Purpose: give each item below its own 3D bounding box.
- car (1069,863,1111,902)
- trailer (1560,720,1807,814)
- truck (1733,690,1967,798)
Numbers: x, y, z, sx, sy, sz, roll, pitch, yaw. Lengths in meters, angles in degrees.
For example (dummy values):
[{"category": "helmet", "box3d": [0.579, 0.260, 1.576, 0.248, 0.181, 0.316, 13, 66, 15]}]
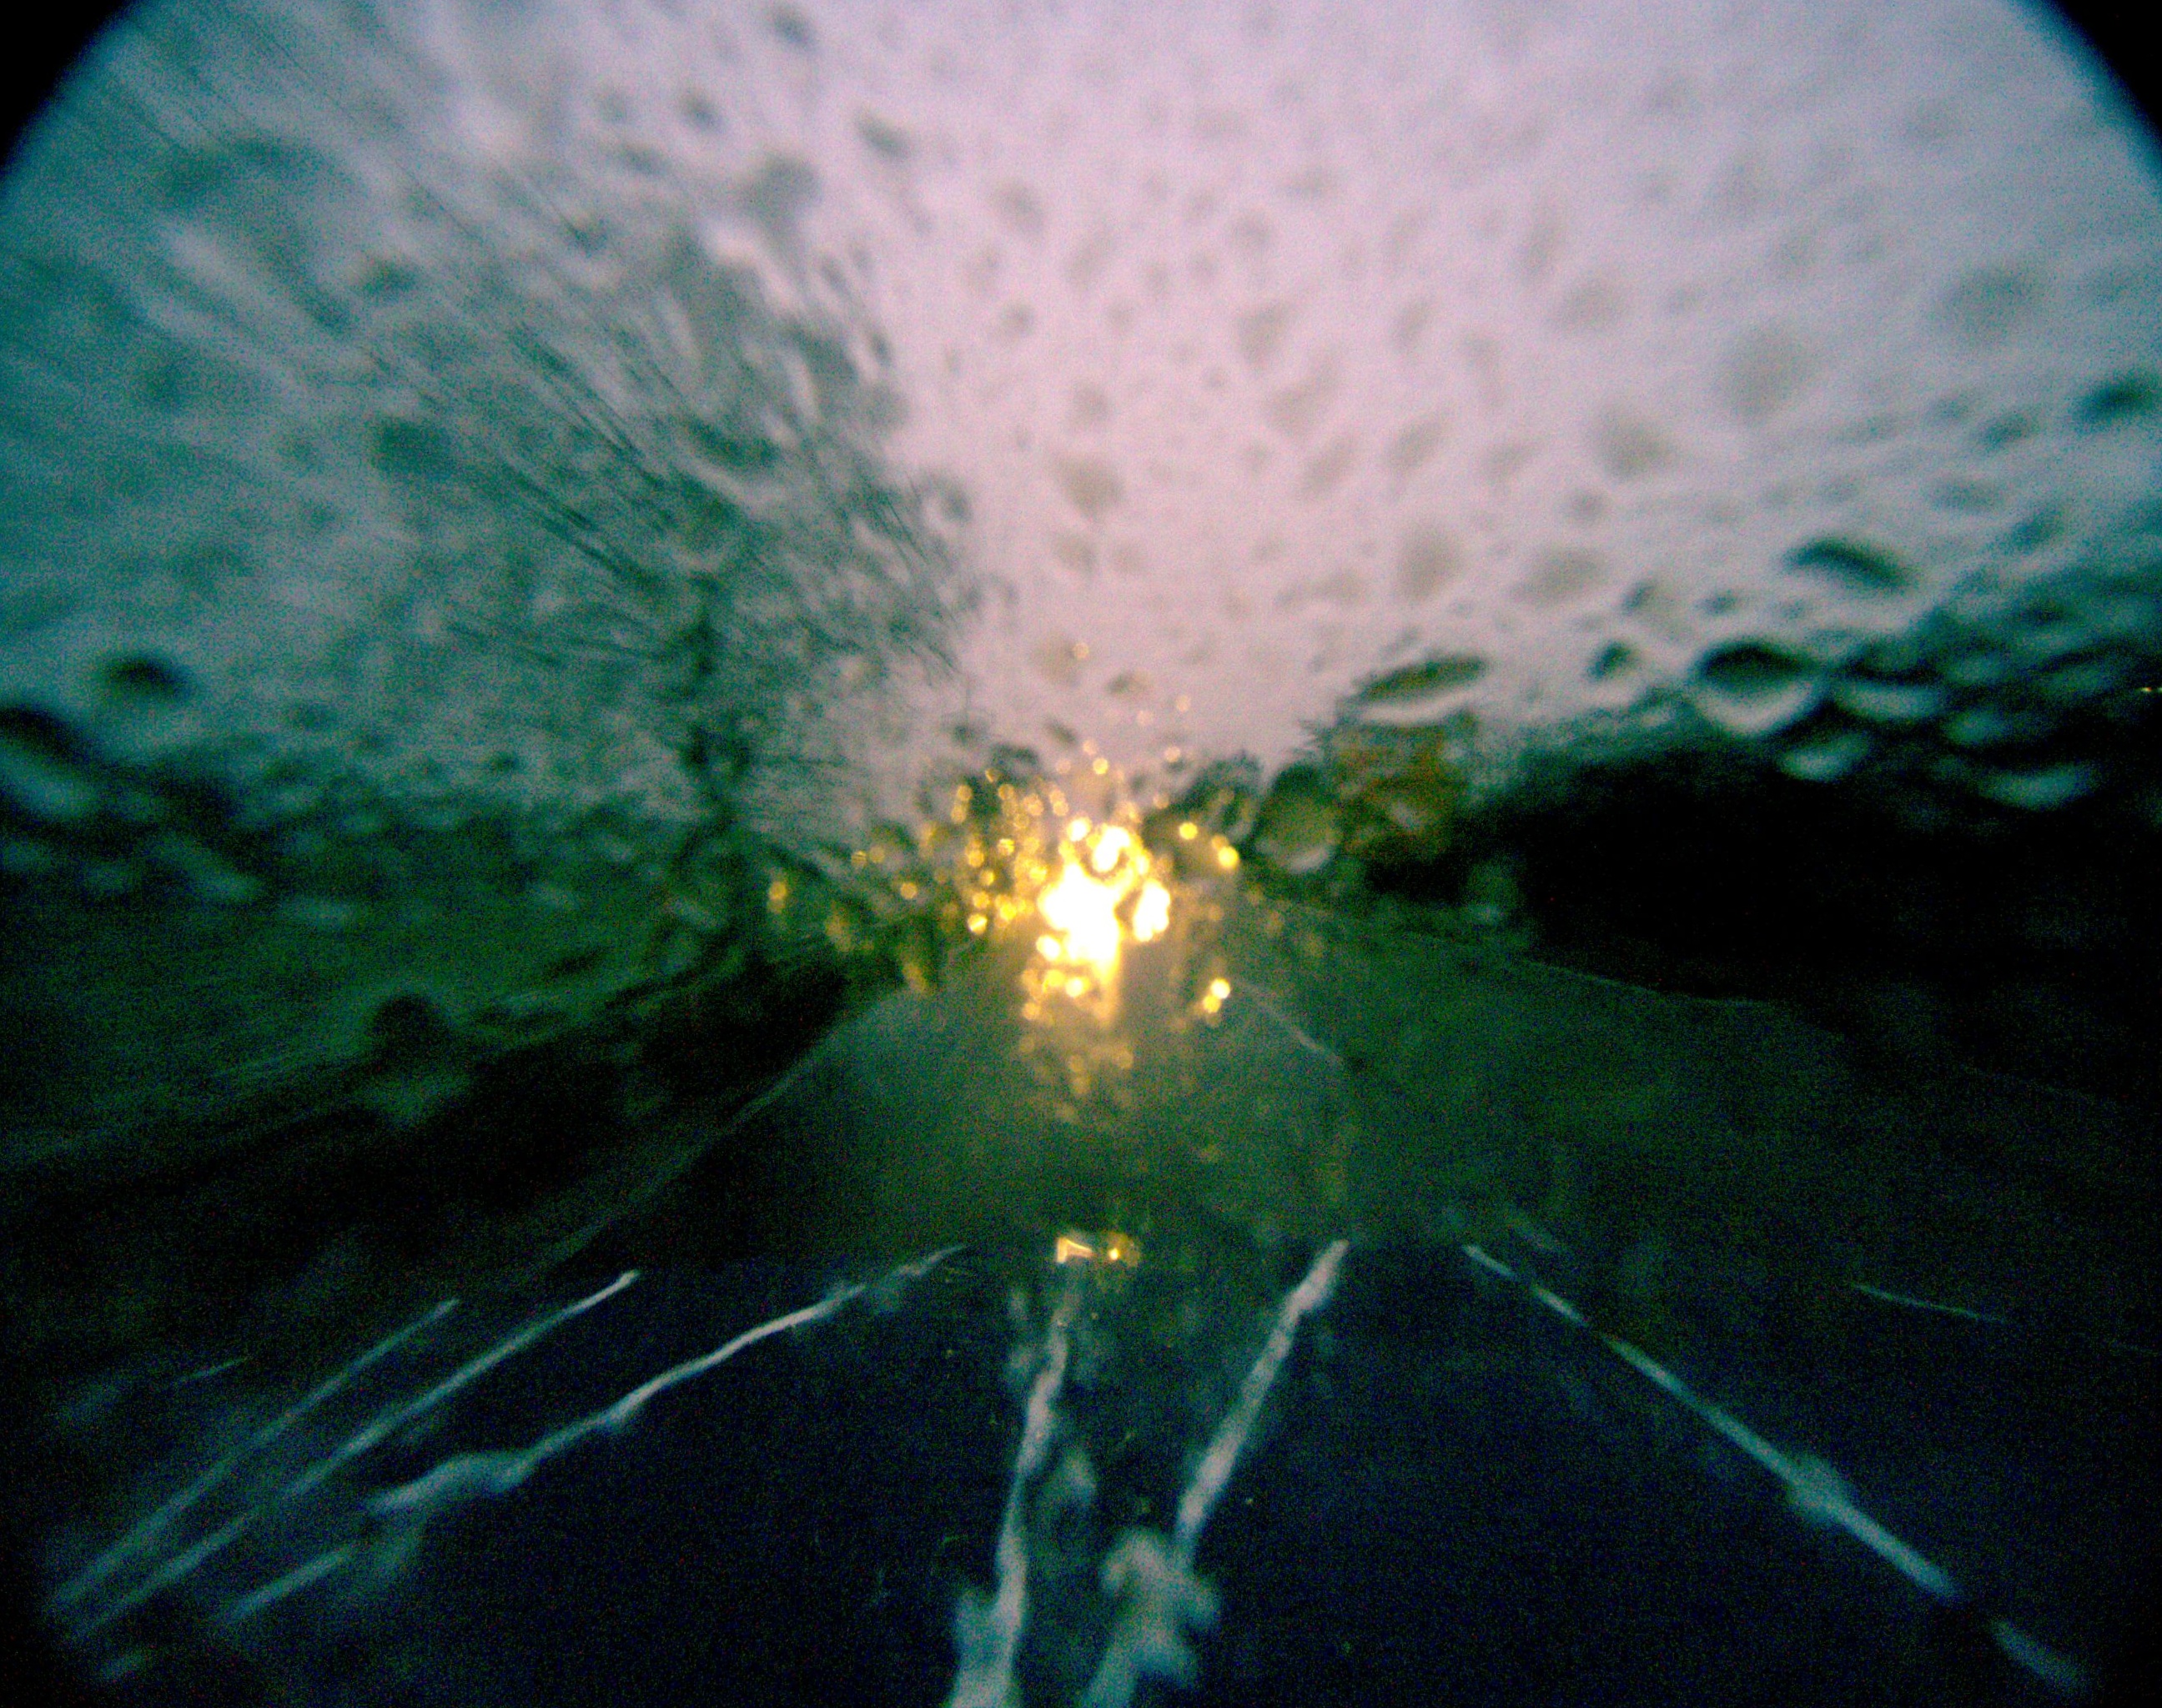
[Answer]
[{"category": "car", "box3d": [0.486, 1.363, 37.710, 1.910, 1.653, 4.000, -3, 1, 1]}, {"category": "trailer", "box3d": [26.257, -3.583, 34.267, 2.442, 2.874, 11.085, -1, 0, 1]}, {"category": "truck", "box3d": [26.167, -3.607, 26.268, 2.456, 2.870, 5.583, -1, 0, 1]}]
